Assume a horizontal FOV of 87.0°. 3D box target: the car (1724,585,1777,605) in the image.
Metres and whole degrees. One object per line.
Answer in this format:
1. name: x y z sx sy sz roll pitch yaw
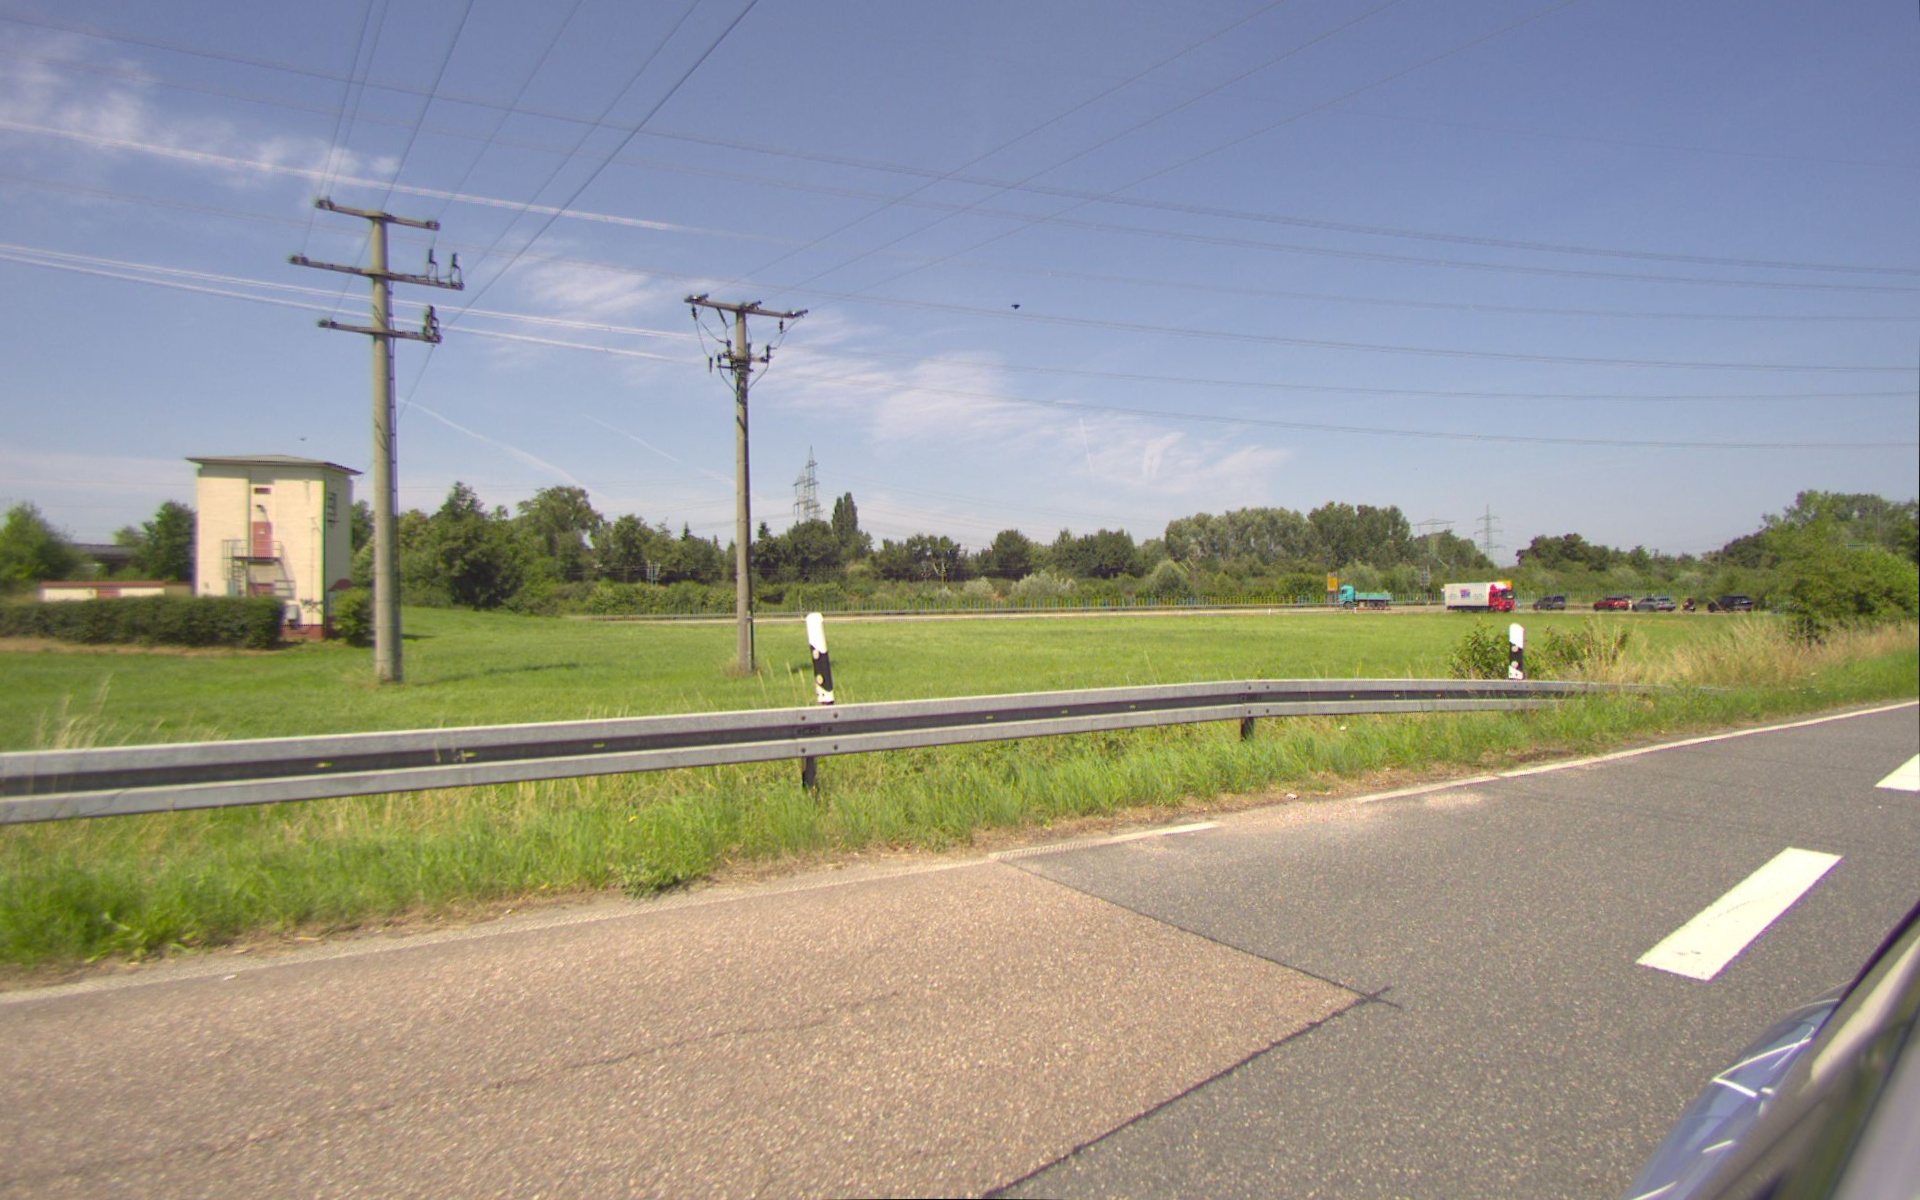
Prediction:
1. car: 70.854 -0.452 90.786 1.678 1.659 4.241 -3 -1 7

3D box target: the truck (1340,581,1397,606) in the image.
1. truck: 60.956 -0.914 151.148 7.545 3.516 2.582 -1 -1 31

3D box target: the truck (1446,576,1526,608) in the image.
1. truck: 63.686 -0.935 122.878 2.669 3.624 9.574 -3 0 -15

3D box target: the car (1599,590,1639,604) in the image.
1. car: 72.190 -0.336 110.930 1.772 1.534 4.388 -1 1 3

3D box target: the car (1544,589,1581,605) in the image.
1. car: 72.808 -0.407 122.375 1.896 1.855 4.437 -2 0 1

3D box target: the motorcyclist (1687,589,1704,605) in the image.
1. motorcyclist: 71.345 -0.320 98.163 0.769 1.514 1.130 -2 0 3

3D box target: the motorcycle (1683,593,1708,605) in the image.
1. motorcycle: 71.387 -0.135 98.250 0.770 1.137 2.427 -3 0 3

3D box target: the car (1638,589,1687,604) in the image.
1. car: 71.684 -0.363 103.349 1.814 1.478 4.805 -2 1 3
